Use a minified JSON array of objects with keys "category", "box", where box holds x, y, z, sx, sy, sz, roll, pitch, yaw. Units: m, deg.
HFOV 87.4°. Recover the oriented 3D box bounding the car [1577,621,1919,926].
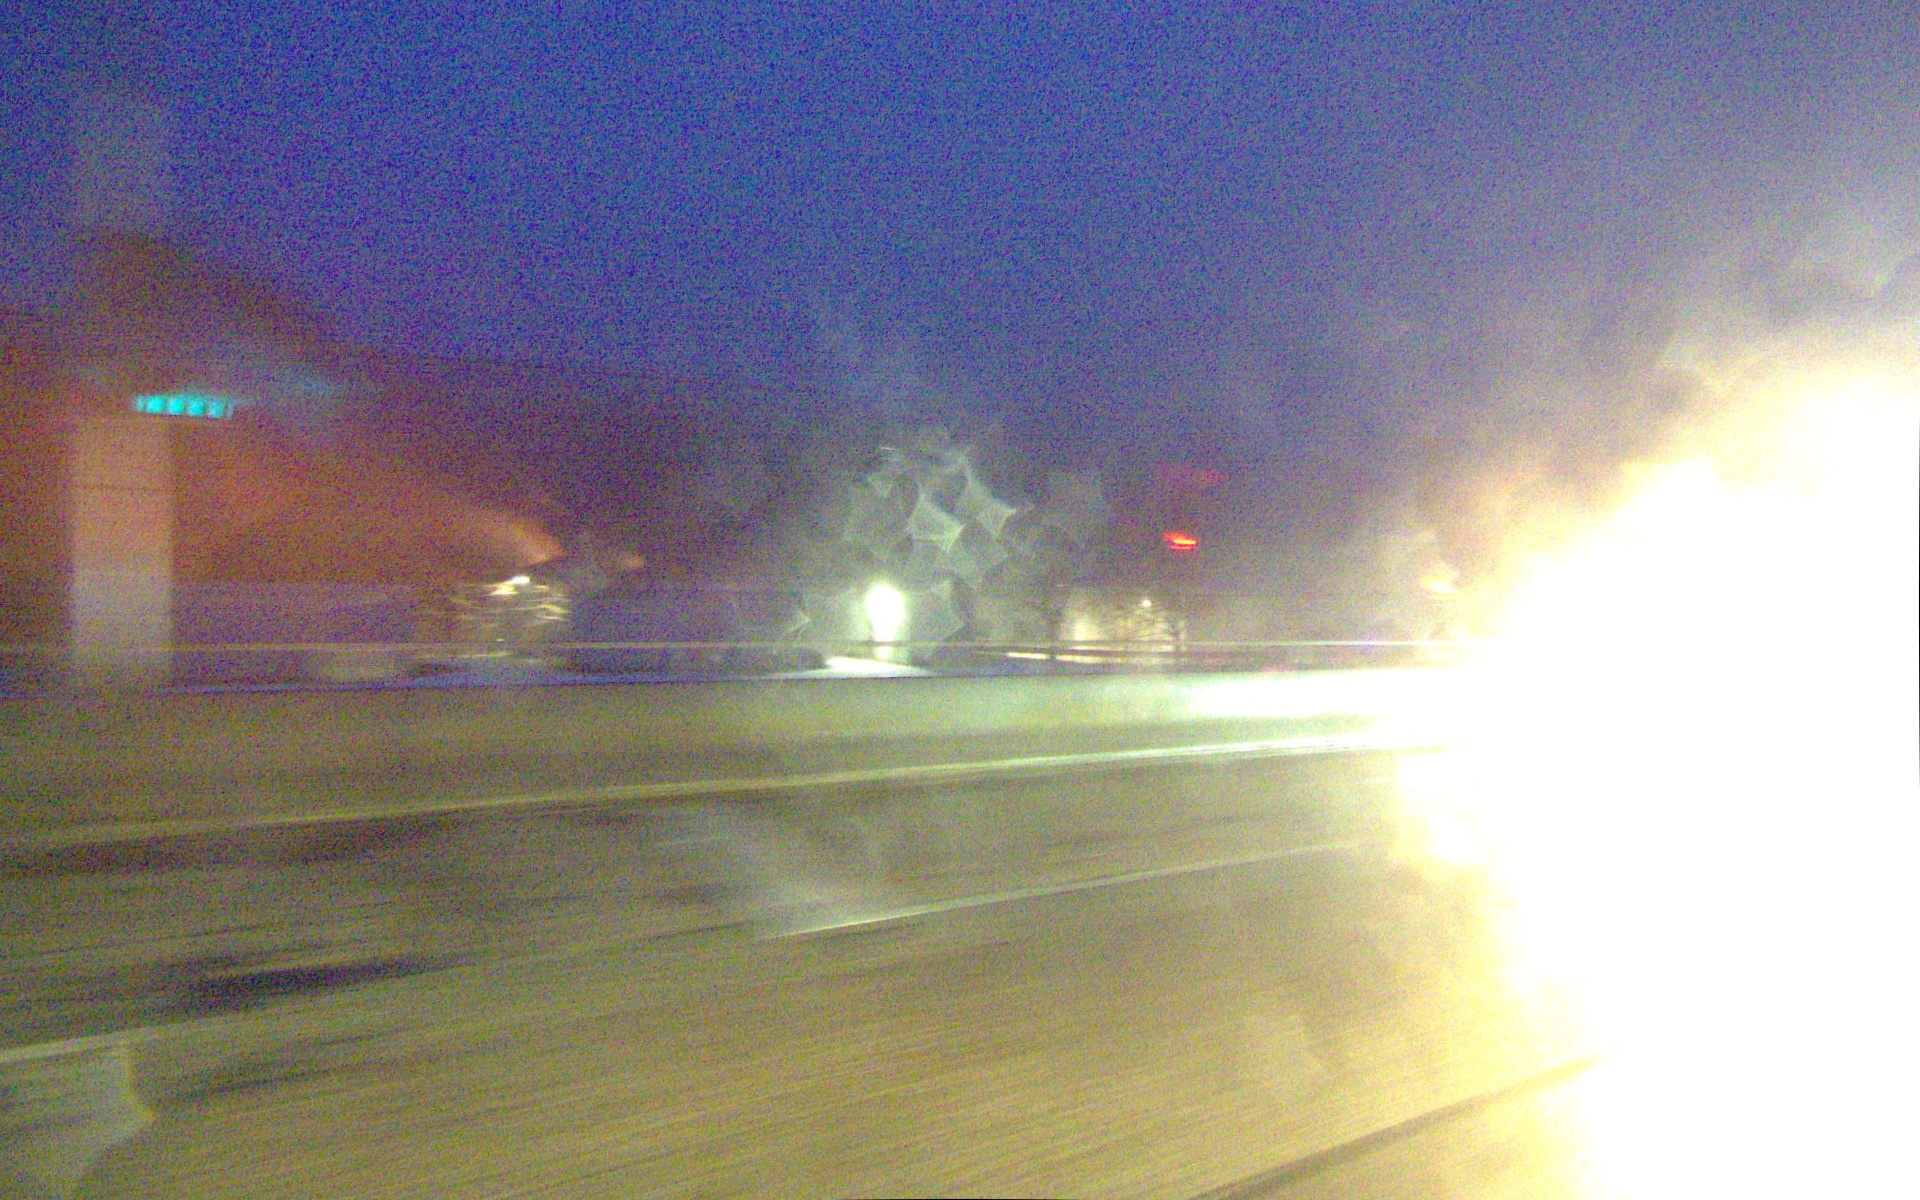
[{"category":"car","box":[5.872,0.911,6.682,3.595,1.492,1.659,1,0,-34]}]
